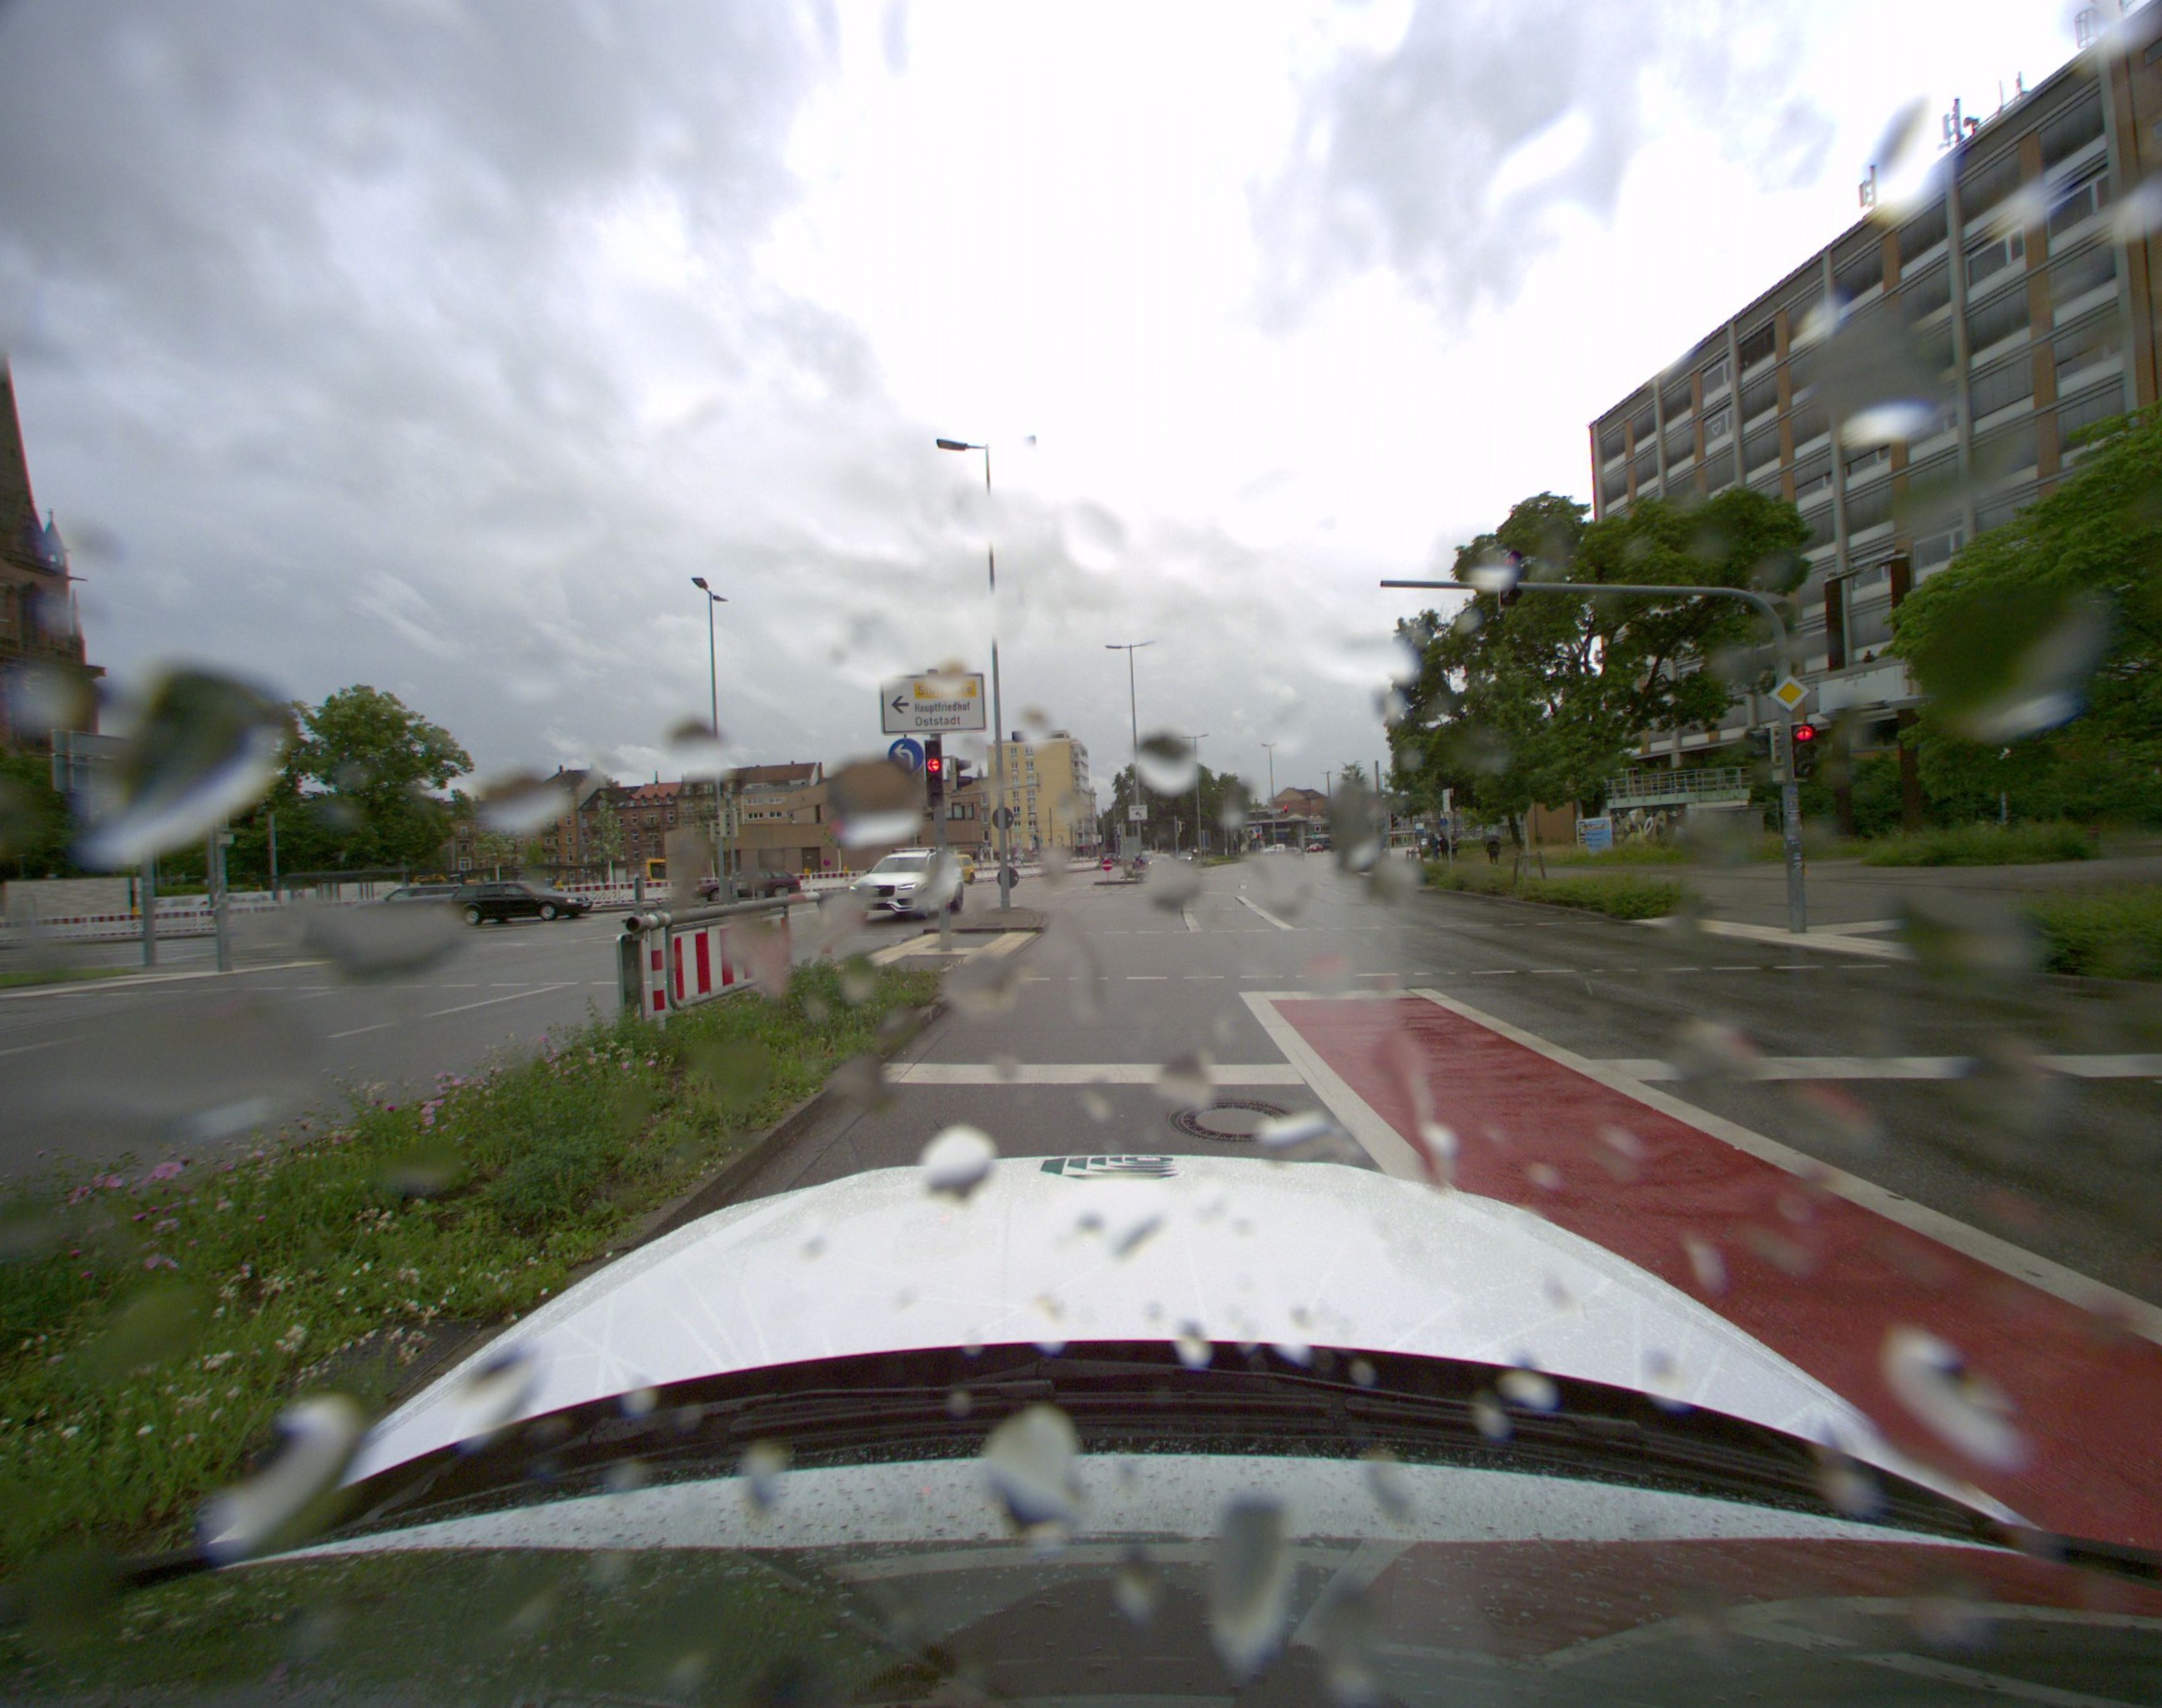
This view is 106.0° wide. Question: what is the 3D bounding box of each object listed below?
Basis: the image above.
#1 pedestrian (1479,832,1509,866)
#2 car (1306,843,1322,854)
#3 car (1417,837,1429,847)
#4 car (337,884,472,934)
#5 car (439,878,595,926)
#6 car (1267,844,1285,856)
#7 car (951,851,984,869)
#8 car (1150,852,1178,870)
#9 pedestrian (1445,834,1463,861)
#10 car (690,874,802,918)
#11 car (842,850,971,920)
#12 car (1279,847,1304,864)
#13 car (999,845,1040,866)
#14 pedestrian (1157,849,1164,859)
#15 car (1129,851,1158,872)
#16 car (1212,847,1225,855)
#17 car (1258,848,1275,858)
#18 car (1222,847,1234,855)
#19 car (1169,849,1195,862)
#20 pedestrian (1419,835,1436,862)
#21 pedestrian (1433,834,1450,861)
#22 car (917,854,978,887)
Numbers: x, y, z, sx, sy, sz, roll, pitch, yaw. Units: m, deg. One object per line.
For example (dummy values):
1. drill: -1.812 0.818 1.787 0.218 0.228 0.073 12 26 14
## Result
1. pedestrian: 19.720 -0.231 38.944 1.015 1.588 0.940 -3 0 12
2. car: 40.044 -0.933 140.003 1.773 1.643 4.071 -3 0 28
3. car: 60.349 -2.107 143.804 1.774 1.643 4.183 -3 0 24
4. car: -27.316 2.208 32.991 3.802 1.706 1.708 -3 0 -6
5. car: -19.735 1.654 28.644 4.184 1.402 1.615 -3 0 -5
6. car: 32.077 -0.632 133.835 1.773 1.858 4.184 -3 0 27
7. car: -20.031 1.029 144.061 5.326 2.887 2.342 -3 0 4
8. car: 7.559 0.616 74.057 1.681 1.415 4.203 -3 1 17
9. pedestrian: 22.400 -0.408 48.909 0.698 1.588 0.940 -3 0 12
10. car: -15.385 1.872 37.538 4.479 1.706 1.692 -3 0 -35
11. car: -4.627 0.749 22.466 1.816 1.682 5.177 0 1 7
12. car: 22.613 0.125 87.395 1.774 1.643 4.183 -3 0 24
13. car: -10.746 0.282 143.141 6.710 3.380 2.813 -3 0 4
14. pedestrian: 14.047 0.015 144.376 1.089 1.813 1.118 -3 0 -2
15. car: 6.139 0.735 79.706 1.680 1.690 4.205 -3 2 20
16. car: 32.332 -0.684 191.198 1.773 1.643 4.184 -3 0 26
17. car: 32.901 -0.251 144.309 1.773 1.643 4.424 -3 0 30
18. car: 34.356 -0.779 190.308 1.773 1.643 4.184 -3 0 26
19. car: 11.087 0.145 89.242 1.756 1.376 4.142 -2 0 22
20. pedestrian: 20.867 -0.329 49.074 0.748 1.588 0.940 -3 0 12
21. pedestrian: 21.605 -0.367 48.866 0.698 1.588 0.940 -3 0 12
22. car: -7.564 0.904 46.571 1.692 1.706 4.171 -3 0 17
